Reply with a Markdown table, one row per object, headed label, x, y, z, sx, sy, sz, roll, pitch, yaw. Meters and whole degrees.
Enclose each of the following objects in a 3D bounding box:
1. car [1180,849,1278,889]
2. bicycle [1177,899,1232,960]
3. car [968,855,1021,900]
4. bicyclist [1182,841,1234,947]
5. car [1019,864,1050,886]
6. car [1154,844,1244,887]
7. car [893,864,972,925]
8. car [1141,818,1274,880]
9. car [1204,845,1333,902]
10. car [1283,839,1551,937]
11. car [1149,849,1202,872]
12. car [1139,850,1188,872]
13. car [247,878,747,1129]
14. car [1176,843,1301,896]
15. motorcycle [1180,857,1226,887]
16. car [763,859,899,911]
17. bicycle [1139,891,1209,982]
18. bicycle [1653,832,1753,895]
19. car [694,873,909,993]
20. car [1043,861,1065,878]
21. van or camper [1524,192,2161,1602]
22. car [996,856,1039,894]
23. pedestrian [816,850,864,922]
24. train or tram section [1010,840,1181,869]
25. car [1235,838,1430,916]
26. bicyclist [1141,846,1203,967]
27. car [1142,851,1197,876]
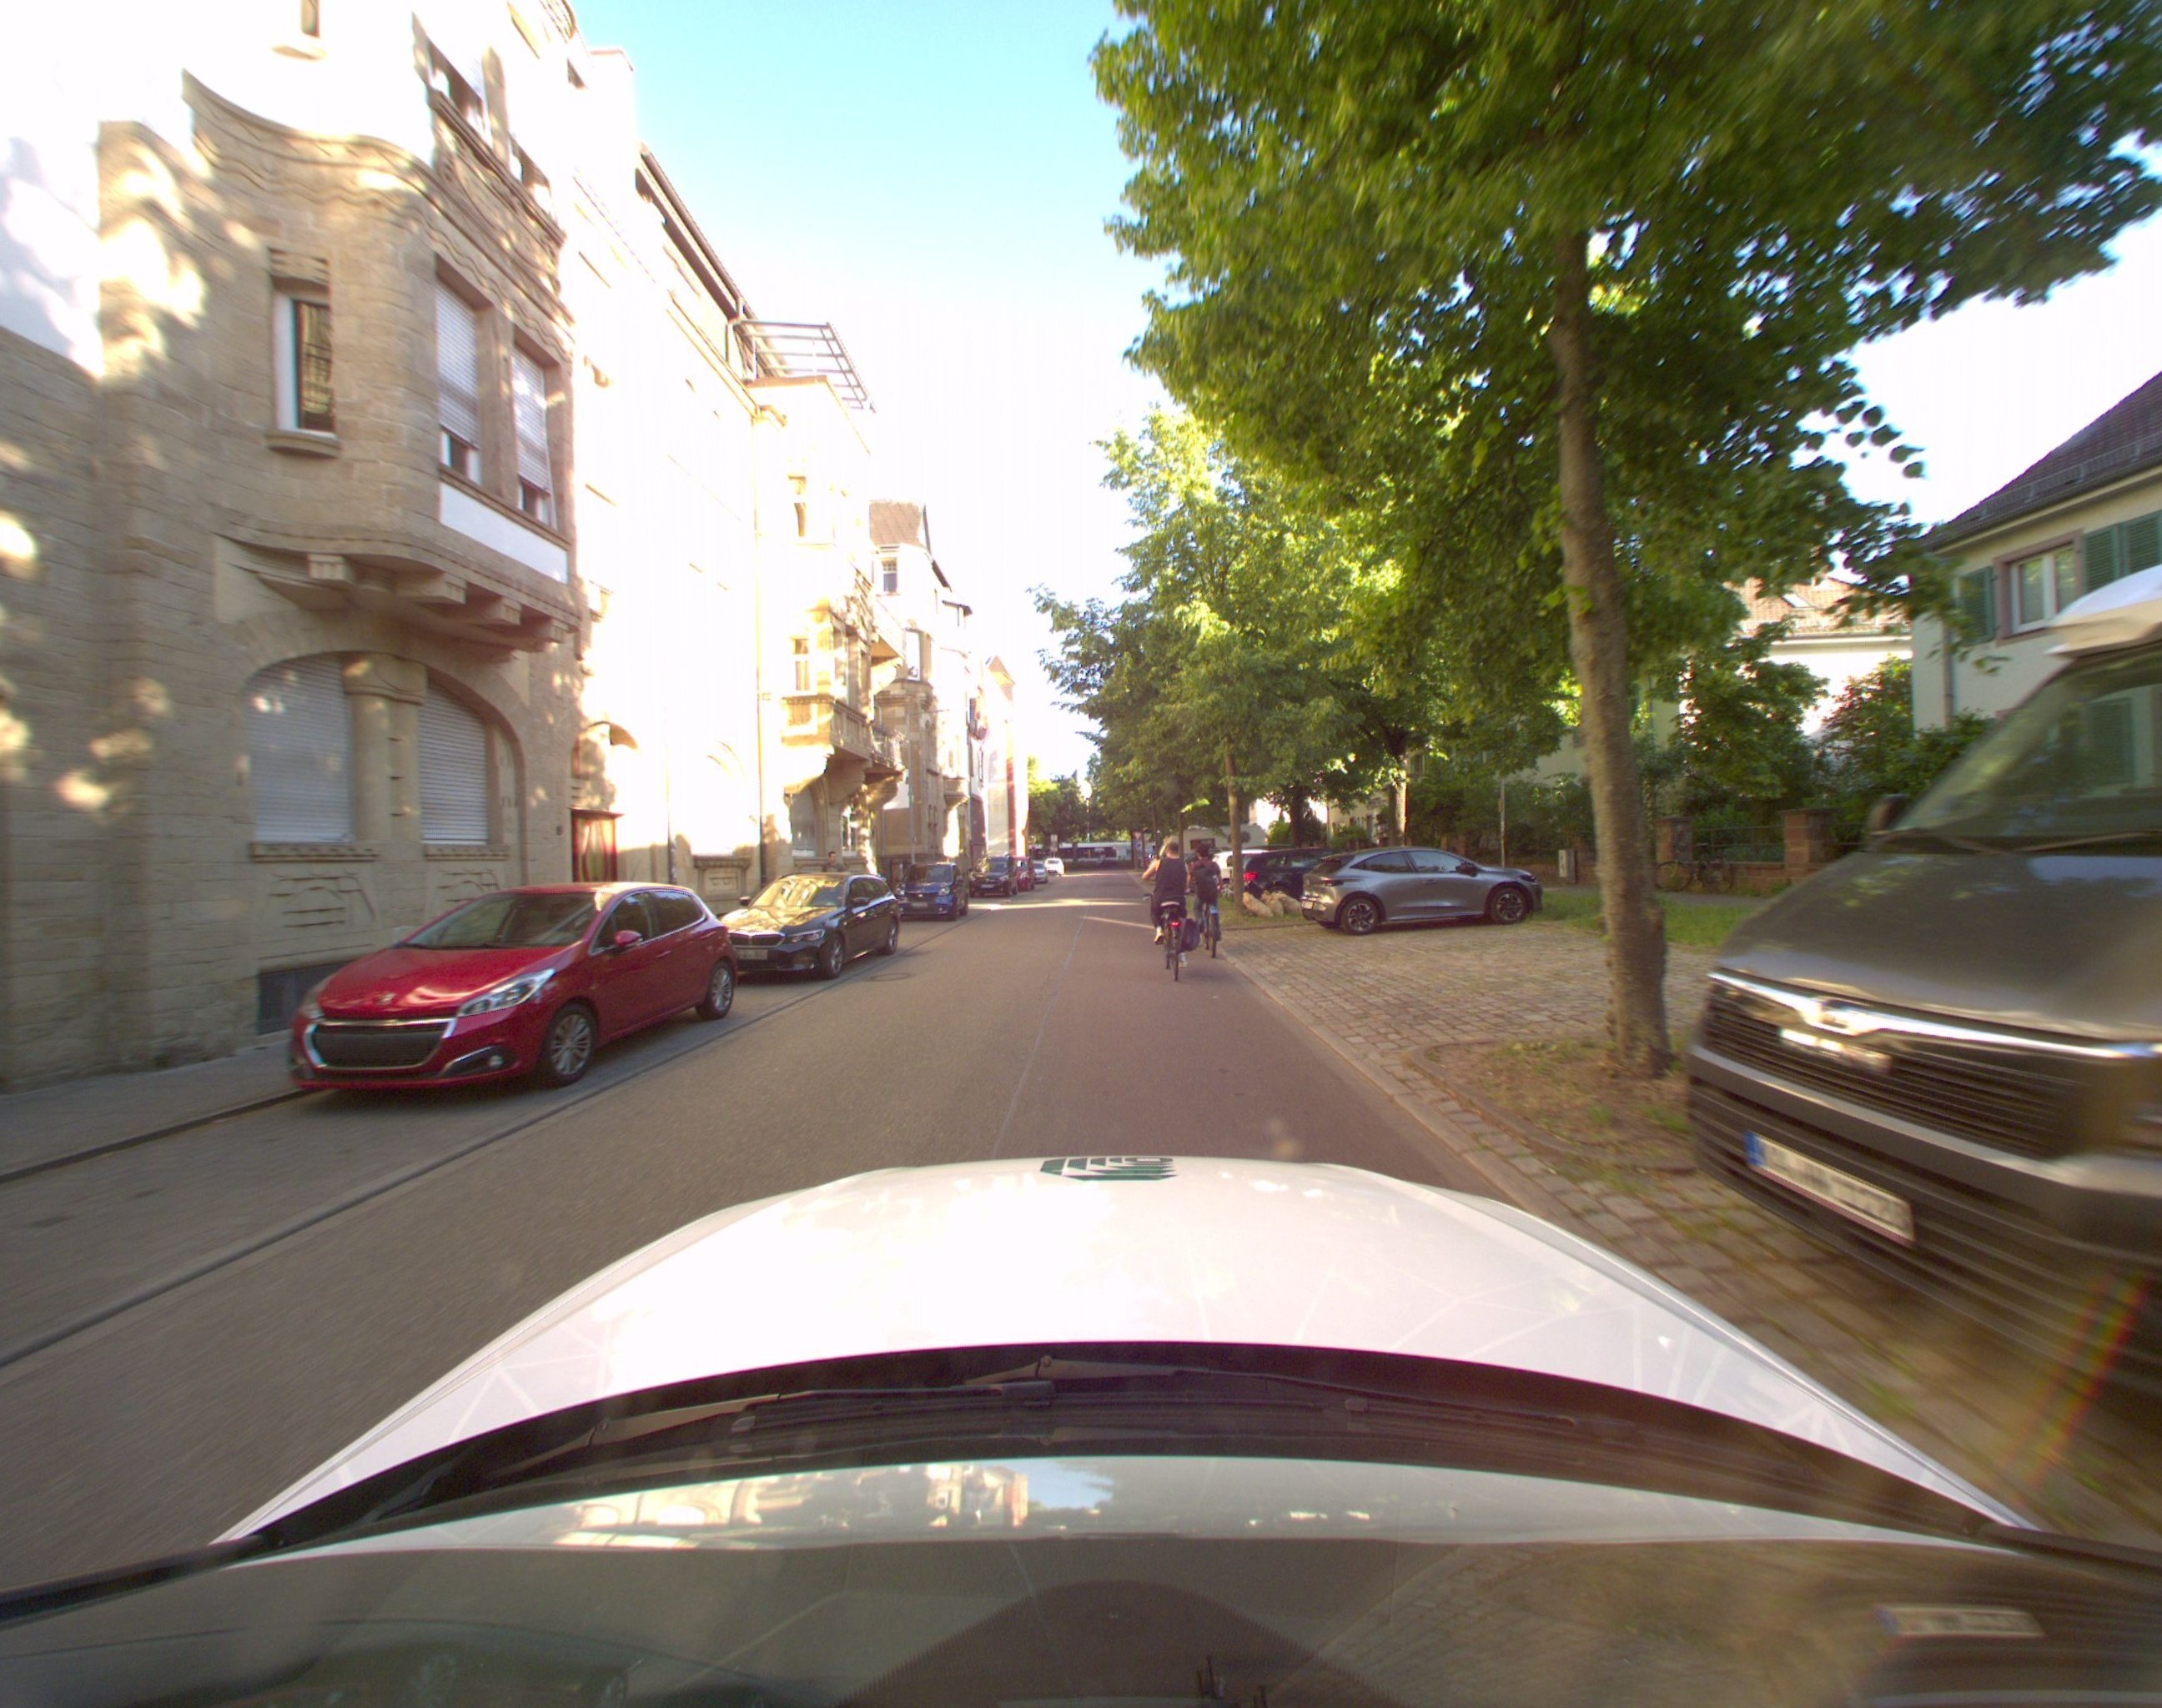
| label | x | y | z | sx | sy | sz | roll | pitch | yaw |
| --- | --- | --- | --- | --- | --- | --- | --- | --- | --- |
| car | 6.770 | 0.683 | 37.464 | 4.126 | 1.600 | 1.701 | -3 | -2 | -1 |
| bicycle | 1.979 | 1.191 | 13.230 | 0.631 | 0.799 | 1.833 | -3 | 0 | 2 |
| car | -3.651 | 0.971 | 35.066 | 1.634 | 1.783 | 4.357 | 0 | 0 | 2 |
| bicyclist | 2.035 | 0.622 | 13.174 | 0.686 | 1.626 | 0.999 | -1 | 0 | 2 |
| car | -2.948 | 1.329 | 52.690 | 1.577 | 1.343 | 4.134 | 0 | 0 | 2 |
| car | 5.743 | 0.560 | 39.925 | 4.070 | 1.650 | 1.640 | -5 | -1 | -1 |
| car | -3.994 | 1.060 | 22.278 | 1.590 | 1.489 | 2.736 | 1 | 0 | 0 |
| car | 7.229 | -0.269 | 47.231 | 7.126 | 2.978 | 2.463 | -4 | -1 | -1 |
| car | 5.946 | 0.634 | 26.137 | 3.757 | 1.600 | 1.692 | -3 | -2 | 3 |
| car | 5.843 | 0.570 | 14.461 | 4.022 | 1.454 | 1.689 | -2 | 0 | -2 |
| car | 7.554 | 0.532 | 65.336 | 3.975 | 1.803 | 1.833 | -1 | -1 | -1 |
| car | 6.980 | 0.601 | 69.484 | 3.975 | 1.803 | 1.833 | -1 | -1 | -1 |
| car | -4.548 | 1.020 | 7.167 | 1.624 | 1.453 | 3.836 | -1 | 0 | -1 |
| car | 5.499 | 0.567 | 28.861 | 4.121 | 1.600 | 1.704 | -3 | -2 | 3 |
| motorcycle | 4.830 | 0.718 | 32.229 | 1.587 | 1.141 | 0.677 | -3 | -1 | 35 |
| car | -8.757 | 1.065 | 28.736 | 4.185 | 1.668 | 1.718 | -2 | 0 | 0 |
| bicycle | 1.199 | 1.051 | 10.911 | 0.735 | 1.054 | 1.956 | 0 | -1 | 1 |
| bicycle | 12.268 | 0.189 | 16.132 | 0.562 | 1.128 | 1.820 | -4 | -1 | 2 |
| car | -4.132 | 1.082 | 12.910 | 1.669 | 1.430 | 4.553 | 0 | 0 | 2 |
| car | -2.348 | 1.327 | 70.547 | 1.577 | 1.375 | 4.134 | 0 | 0 | 2 |
| van or camper | 5.617 | -0.181 | 2.327 | 7.117 | 2.646 | 2.467 | -6 | 0 | 3 |
| car | -3.229 | 1.062 | 42.244 | 1.682 | 1.825 | 4.275 | 0 | 0 | 2 |
| pedestrian | -5.972 | 0.786 | 20.179 | 0.934 | 1.742 | 0.735 | -1 | -1 | 2 |
| train or tram section | 2.212 | 0.071 | 113.127 | 23.891 | 3.708 | 4.256 | -1 | -1 | -21 |
| car | 6.017 | 0.570 | 19.877 | 4.205 | 1.600 | 1.692 | -3 | -2 | 3 |
| bicyclist | 1.197 | 0.675 | 10.849 | 0.727 | 1.548 | 0.884 | 0 | -1 | 0 |
| car | 6.652 | 0.690 | 61.598 | 3.975 | 1.803 | 1.833 | -1 | -1 | -1 |
